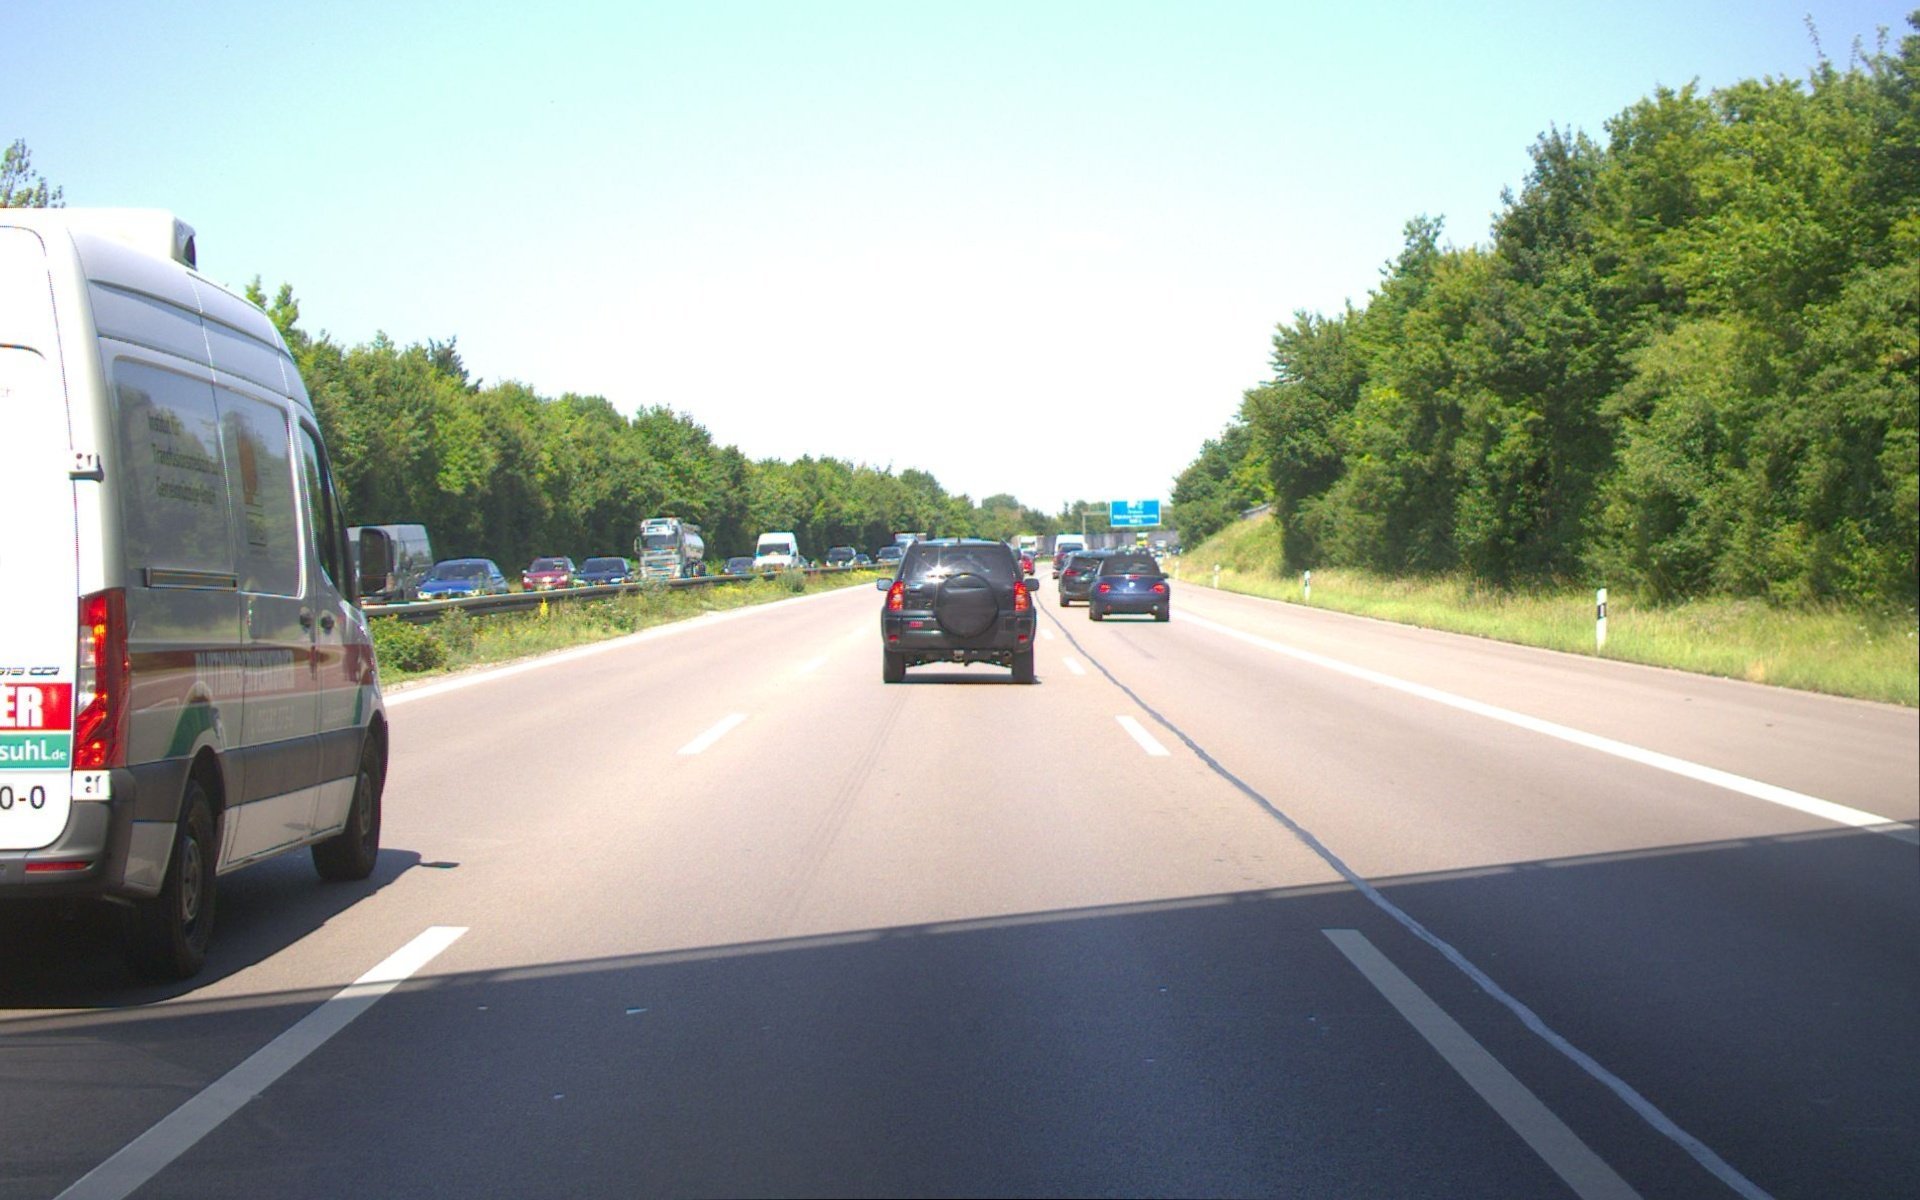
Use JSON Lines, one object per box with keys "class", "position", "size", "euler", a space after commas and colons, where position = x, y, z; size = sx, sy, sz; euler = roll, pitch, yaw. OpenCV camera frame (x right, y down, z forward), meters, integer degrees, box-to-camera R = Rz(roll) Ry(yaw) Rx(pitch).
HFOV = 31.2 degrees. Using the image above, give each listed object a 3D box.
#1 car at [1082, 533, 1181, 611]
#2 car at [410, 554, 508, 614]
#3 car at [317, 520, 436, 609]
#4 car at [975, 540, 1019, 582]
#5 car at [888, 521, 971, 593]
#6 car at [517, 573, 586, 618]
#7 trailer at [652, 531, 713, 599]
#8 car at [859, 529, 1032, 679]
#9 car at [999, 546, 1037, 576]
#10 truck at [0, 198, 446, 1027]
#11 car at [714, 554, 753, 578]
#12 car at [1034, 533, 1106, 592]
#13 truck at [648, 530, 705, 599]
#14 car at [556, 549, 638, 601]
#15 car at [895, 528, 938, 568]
{"class": "car", "position": [3.832, -0.610, 77.436], "size": [1.993, 1.678, 4.000], "euler": [-1, 0, 0]}
{"class": "car", "position": [-11.898, -0.407, 81.882], "size": [1.725, 1.370, 4.545], "euler": [-1, 1, -1]}
{"class": "car", "position": [-15.240, -0.889, 90.160], "size": [1.993, 2.227, 6.517], "euler": [-1, 0, 0]}
{"class": "car", "position": [1.802, -1.917, 168.408], "size": [1.993, 2.007, 4.768], "euler": [-1, 1, -1]}
{"class": "car", "position": [-0.735, -1.072, 85.392], "size": [1.993, 1.700, 4.336], "euler": [-1, 1, 0]}
{"class": "car", "position": [-15.098, -0.165, 127.158], "size": [1.863, 1.624, 4.320], "euler": [-1, 0, 2]}
{"class": "trailer", "position": [-16.565, -2.125, 205.850], "size": [2.766, 3.869, 9.457], "euler": [-3, 1, 0]}
{"class": "car", "position": [-0.223, 0.045, 40.576], "size": [1.906, 1.659, 4.000], "euler": [-1, 0, -2]}
{"class": "car", "position": [3.386, -2.294, 201.804], "size": [1.993, 1.744, 4.205], "euler": [-1, 1, -2]}
{"class": "truck", "position": [-3.619, -0.033, 13.883], "size": [1.993, 2.533, 6.692], "euler": [1, 1, 0]}
{"class": "car", "position": [-13.310, -2.008, 201.989], "size": [1.906, 1.411, 4.891], "euler": [-1, 1, 1]}
{"class": "car", "position": [3.112, -1.044, 97.708], "size": [1.842, 1.606, 4.000], "euler": [-1, 0, -1]}
{"class": "truck", "position": [-16.482, -2.077, 200.265], "size": [2.731, 3.869, 6.322], "euler": [-3, 1, -1]}
{"class": "car", "position": [-11.671, -0.819, 110.892], "size": [1.993, 1.602, 4.648], "euler": [-1, 1, 2]}
{"class": "car", "position": [-2.268, -2.725, 180.195], "size": [1.994, 2.007, 4.949], "euler": [-1, 1, 2]}
